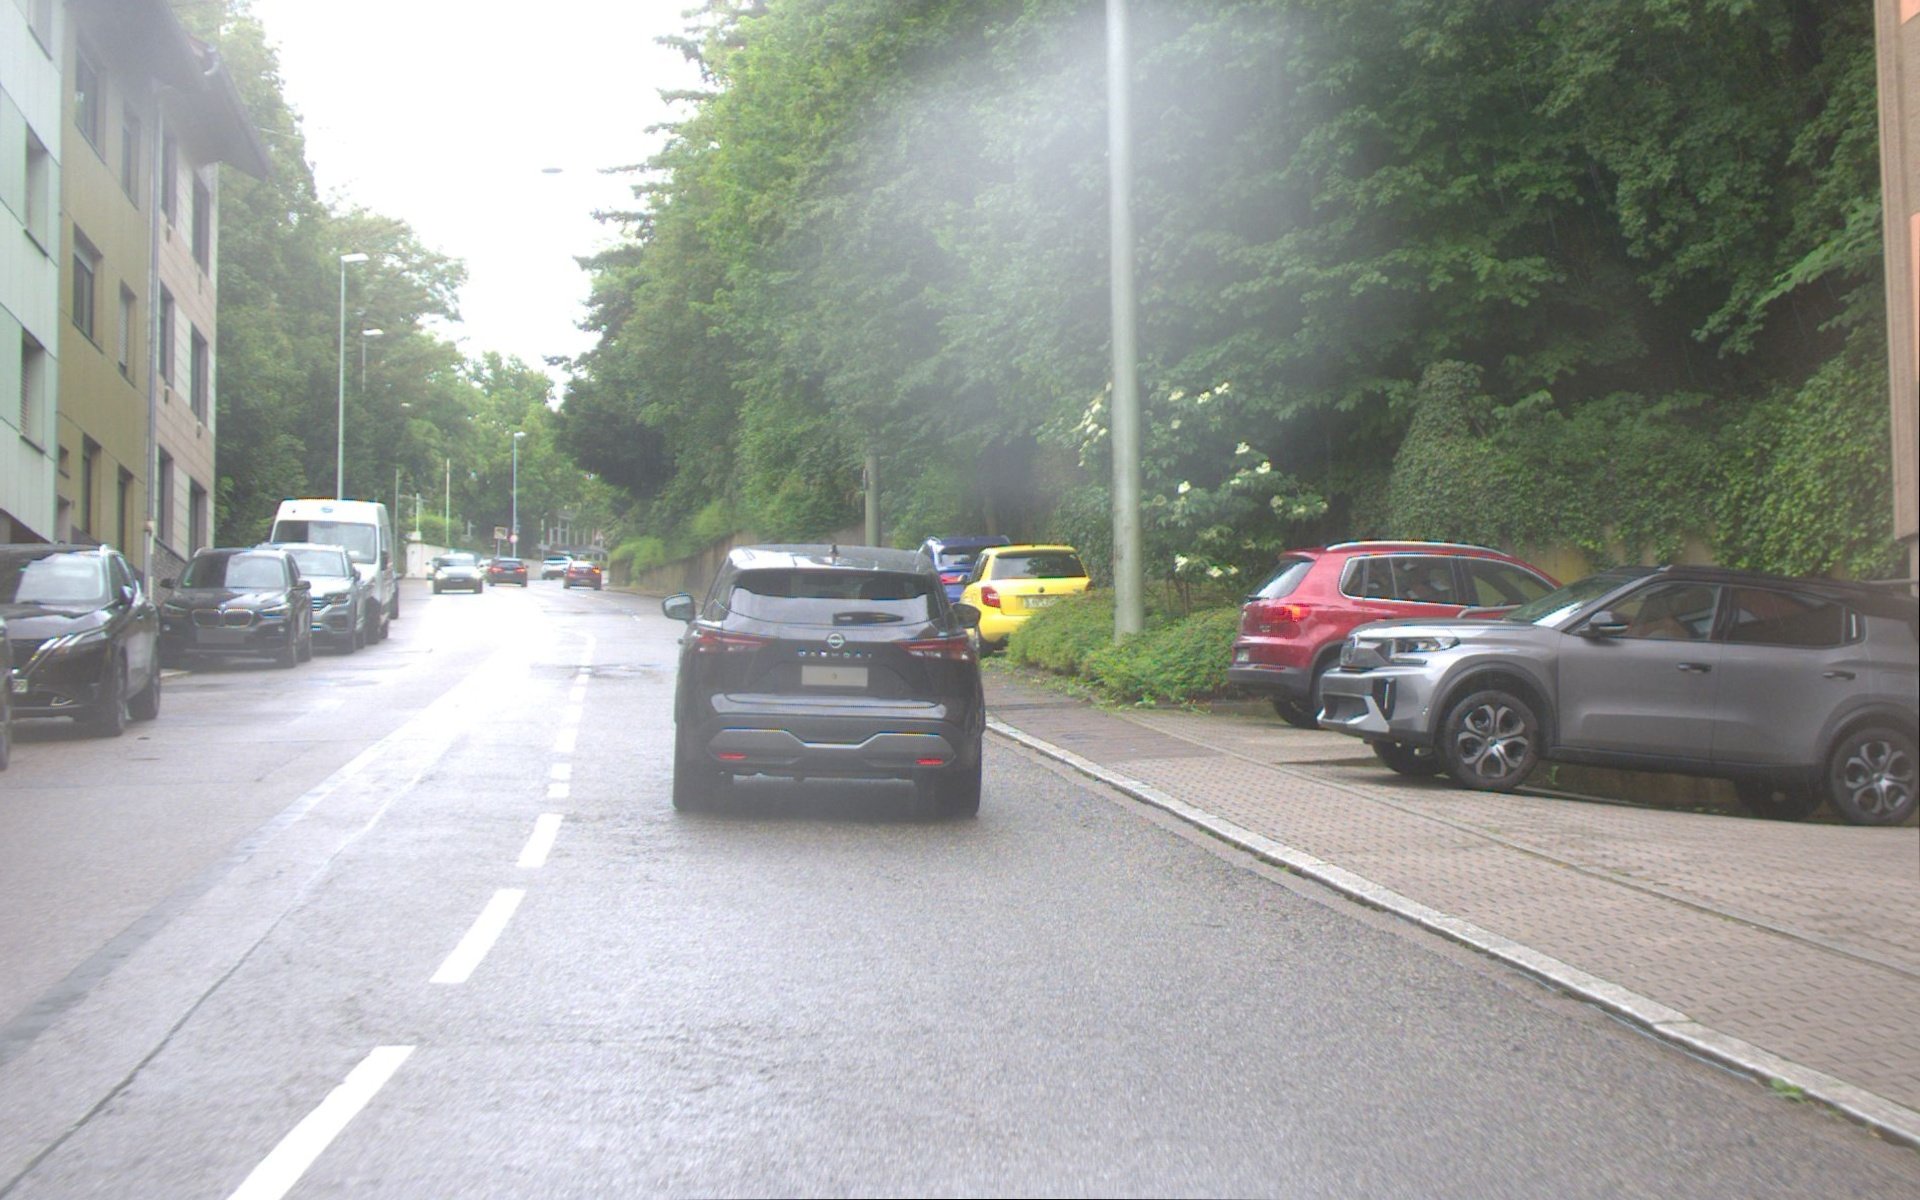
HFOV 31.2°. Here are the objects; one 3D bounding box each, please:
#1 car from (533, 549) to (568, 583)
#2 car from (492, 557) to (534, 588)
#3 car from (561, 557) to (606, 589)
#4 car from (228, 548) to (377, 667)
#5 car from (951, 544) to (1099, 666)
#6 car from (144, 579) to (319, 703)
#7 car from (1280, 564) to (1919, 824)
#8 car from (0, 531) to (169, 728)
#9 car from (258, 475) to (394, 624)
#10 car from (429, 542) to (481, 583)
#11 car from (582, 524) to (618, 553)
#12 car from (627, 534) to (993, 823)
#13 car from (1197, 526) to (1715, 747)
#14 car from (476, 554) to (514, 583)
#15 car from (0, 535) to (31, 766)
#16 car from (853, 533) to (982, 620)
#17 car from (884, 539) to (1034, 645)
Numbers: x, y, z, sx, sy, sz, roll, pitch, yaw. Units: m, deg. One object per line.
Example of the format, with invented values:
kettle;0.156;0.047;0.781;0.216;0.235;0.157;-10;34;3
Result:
car;-26.942;-2.220;226.241;1.993;2.007;4.000;2;-2;-3
car;-23.109;-1.440;177.739;2.074;1.554;4.001;1;1;-7
car;-19.277;-1.407;175.747;2.074;1.554;4.001;1;1;-9
car;-10.221;0.082;53.714;1.990;1.749;4.481;0;1;-7
car;0.833;0.037;46.237;1.632;1.525;4.001;2;1;-3
car;-10.008;0.526;47.489;1.990;1.579;4.306;0;1;-7
car;4.459;0.621;23.246;4.197;1.491;1.760;3;0;-8
car;-8.037;0.198;29.814;1.853;1.579;4.306;0;1;-7
car;-11.079;-0.899;60.375;1.990;2.466;5.786;0;1;-7
car;-20.689;-1.565;140.975;1.993;1.554;4.001;2;1;-8
car;-21.462;-3.676;204.936;1.993;1.554;4.000;0;-1;-4
car;-1.033;0.411;21.423;1.993;1.554;4.001;2;1;-6
car;4.441;0.317;31.054;4.196;1.729;1.760;3;0;-10
car;-26.708;-1.818;197.484;2.074;1.554;4.001;1;1;-7
car;-7.456;0.358;22.590;1.993;1.579;4.472;0;1;-7
car;-0.826;-0.443;63.879;1.810;1.525;4.418;-1;1;-8
car;-0.067;-0.141;53.163;1.810;1.525;4.418;-1;1;-6
